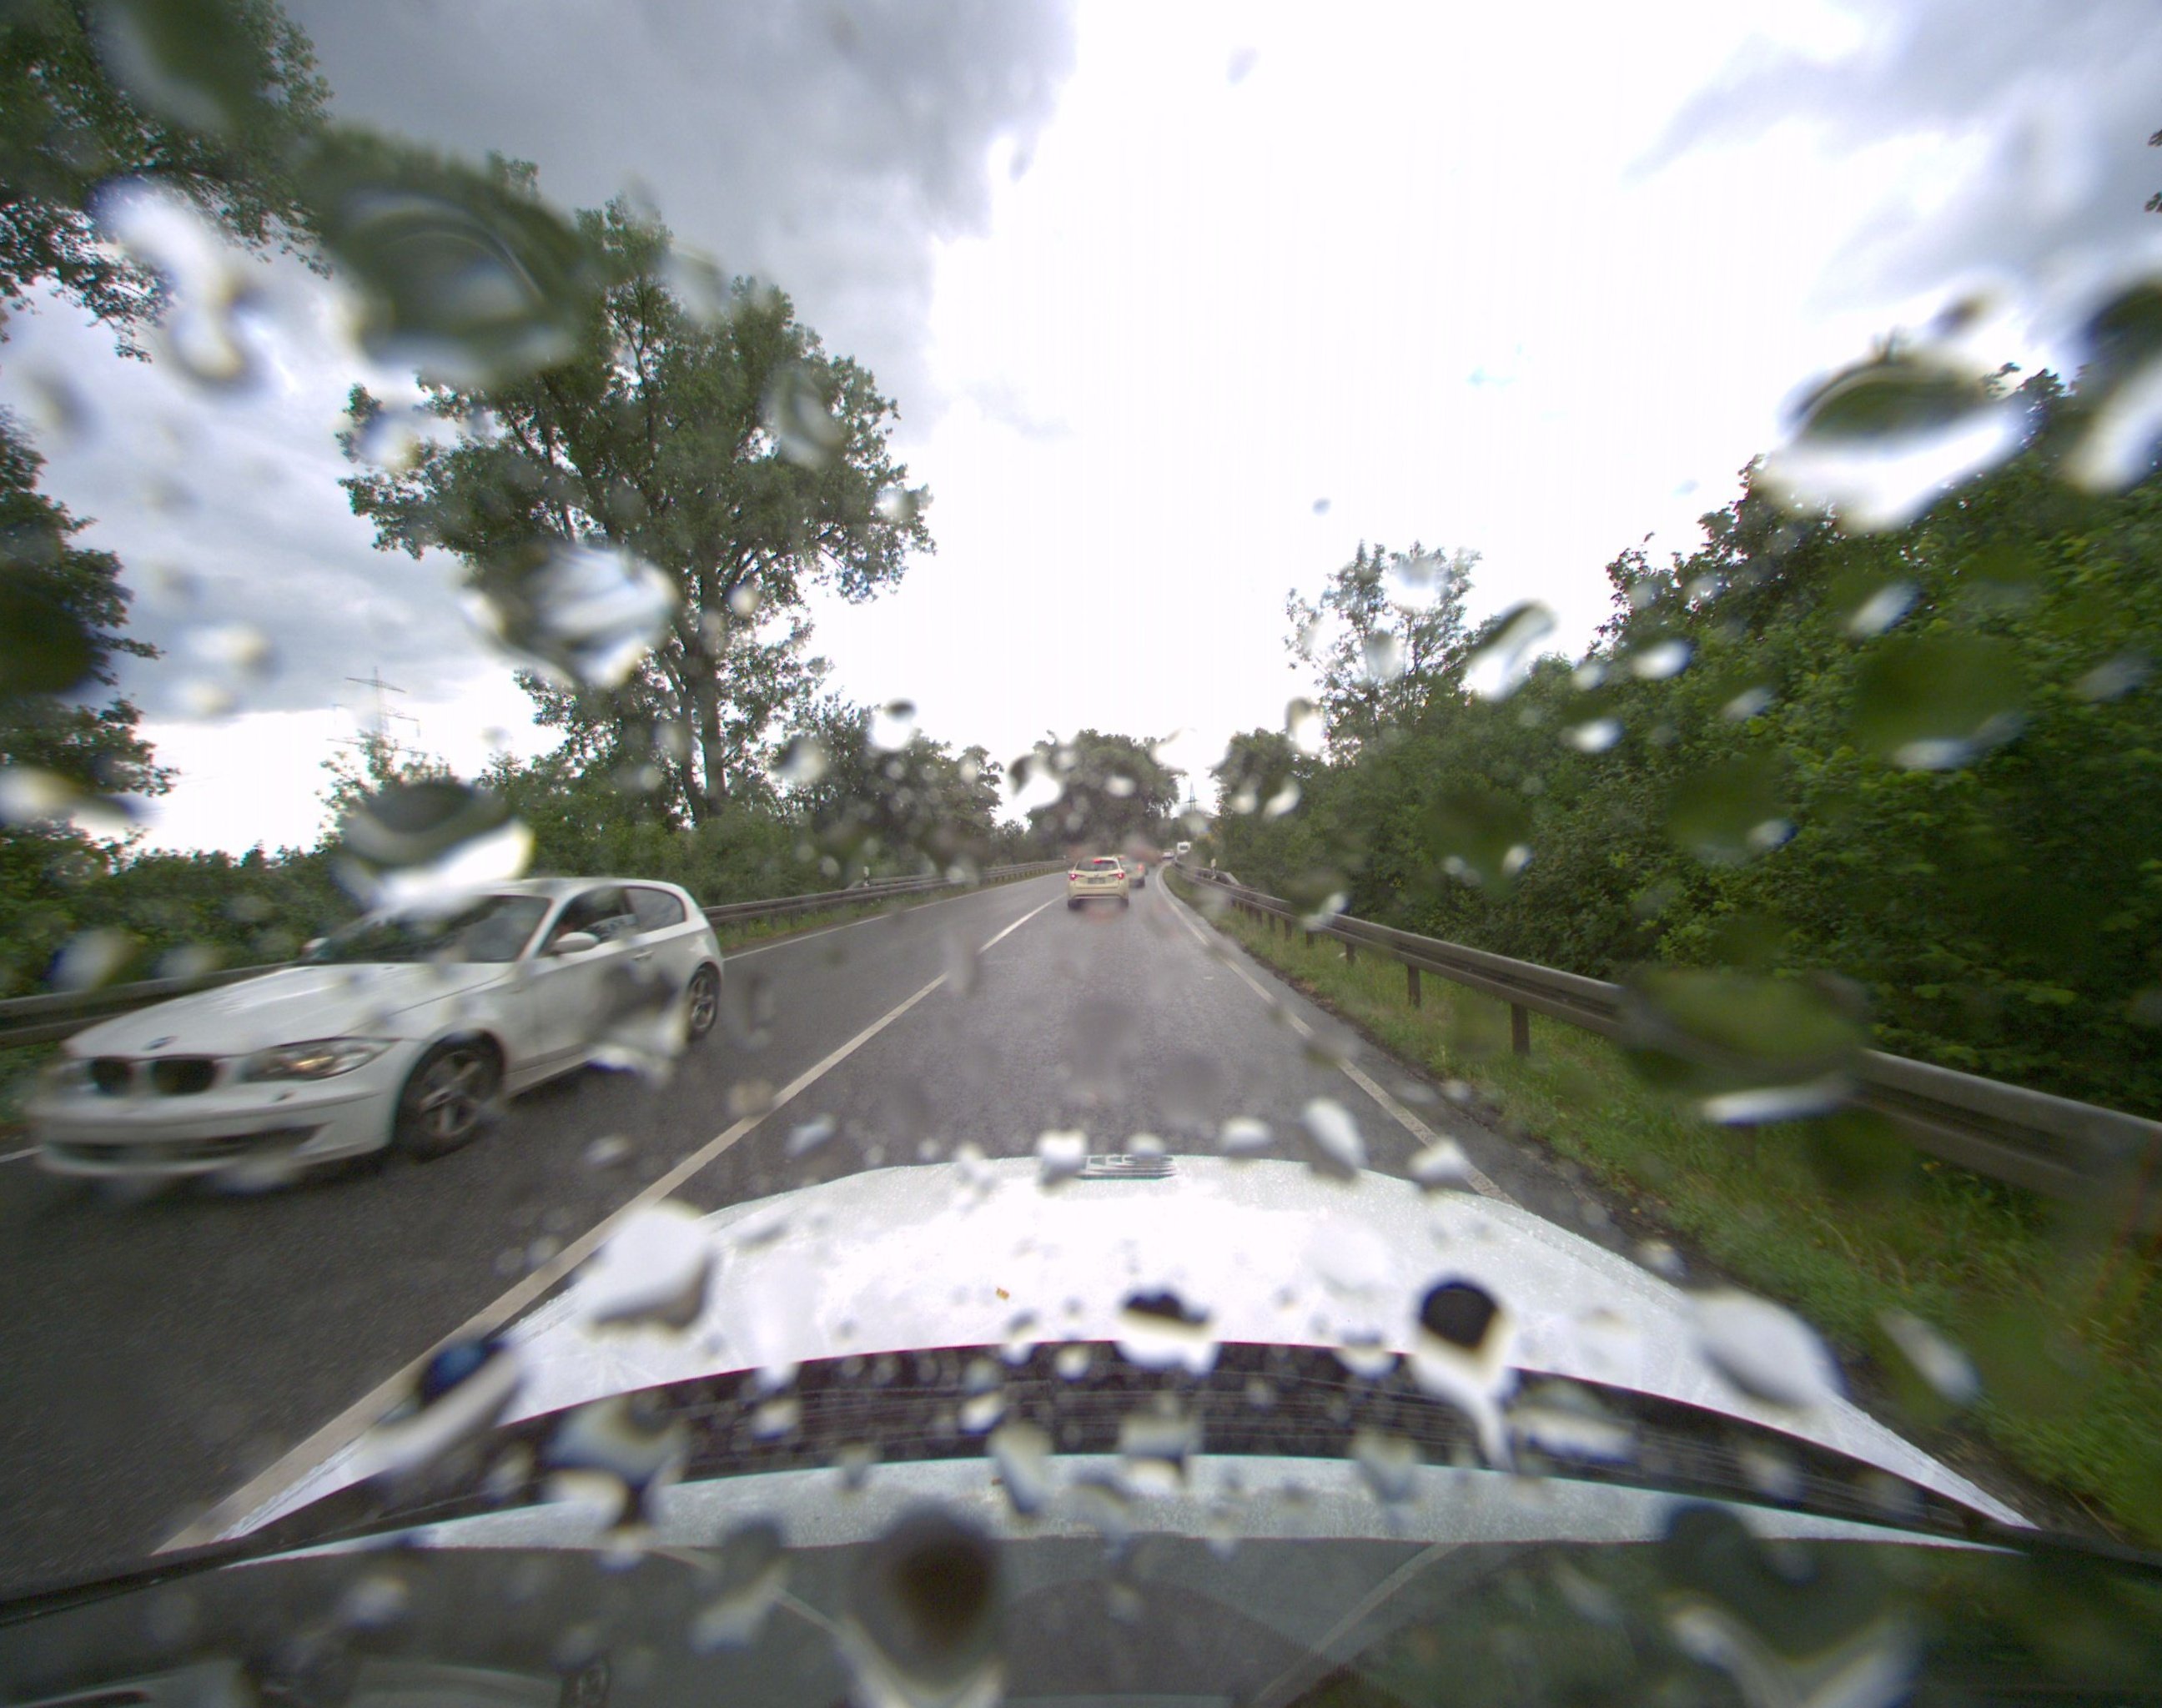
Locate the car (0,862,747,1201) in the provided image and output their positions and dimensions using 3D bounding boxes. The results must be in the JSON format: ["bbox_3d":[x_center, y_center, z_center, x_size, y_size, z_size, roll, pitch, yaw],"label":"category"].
[{"bbox_3d":[-4.137,0.821,5.691,1.808,1.454,4.049,-1,0,2],"label":"car"}]

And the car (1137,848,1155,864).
[{"bbox_3d":[6.299,0.220,78.486,1.652,1.409,3.910,-1,-1,5],"label":"car"}]

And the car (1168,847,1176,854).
[{"bbox_3d":[19.222,-0.719,171.964,1.415,1.355,3.236,-1,0,11],"label":"car"}]

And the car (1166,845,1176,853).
[{"bbox_3d":[14.220,-0.771,128.648,1.363,1.201,3.327,-1,0,12],"label":"car"}]

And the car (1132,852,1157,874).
[{"bbox_3d":[4.355,0.582,55.988,1.658,1.464,3.480,-1,0,4],"label":"car"}]

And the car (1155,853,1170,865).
[{"bbox_3d":[9.695,0.612,96.725,1.474,1.309,3.485,-1,0,9],"label":"car"}]

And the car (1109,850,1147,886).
[{"bbox_3d":[2.252,0.611,38.164,1.570,1.572,3.687,-1,0,6],"label":"car"}]

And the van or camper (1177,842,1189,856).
[{"bbox_3d":[17.847,-0.835,142.175,1.982,2.254,4.010,-1,0,9],"label":"van or camper"}]

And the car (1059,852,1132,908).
[{"bbox_3d":[0.525,0.716,24.602,1.897,1.537,4.167,-1,0,5],"label":"car"}]

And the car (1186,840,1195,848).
[{"bbox_3d":[22.322,-2.013,165.471,1.637,1.585,3.693,-1,0,10],"label":"car"}]

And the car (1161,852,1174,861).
[{"bbox_3d":[12.065,0.329,113.453,1.473,1.309,3.486,-1,0,10],"label":"car"}]
